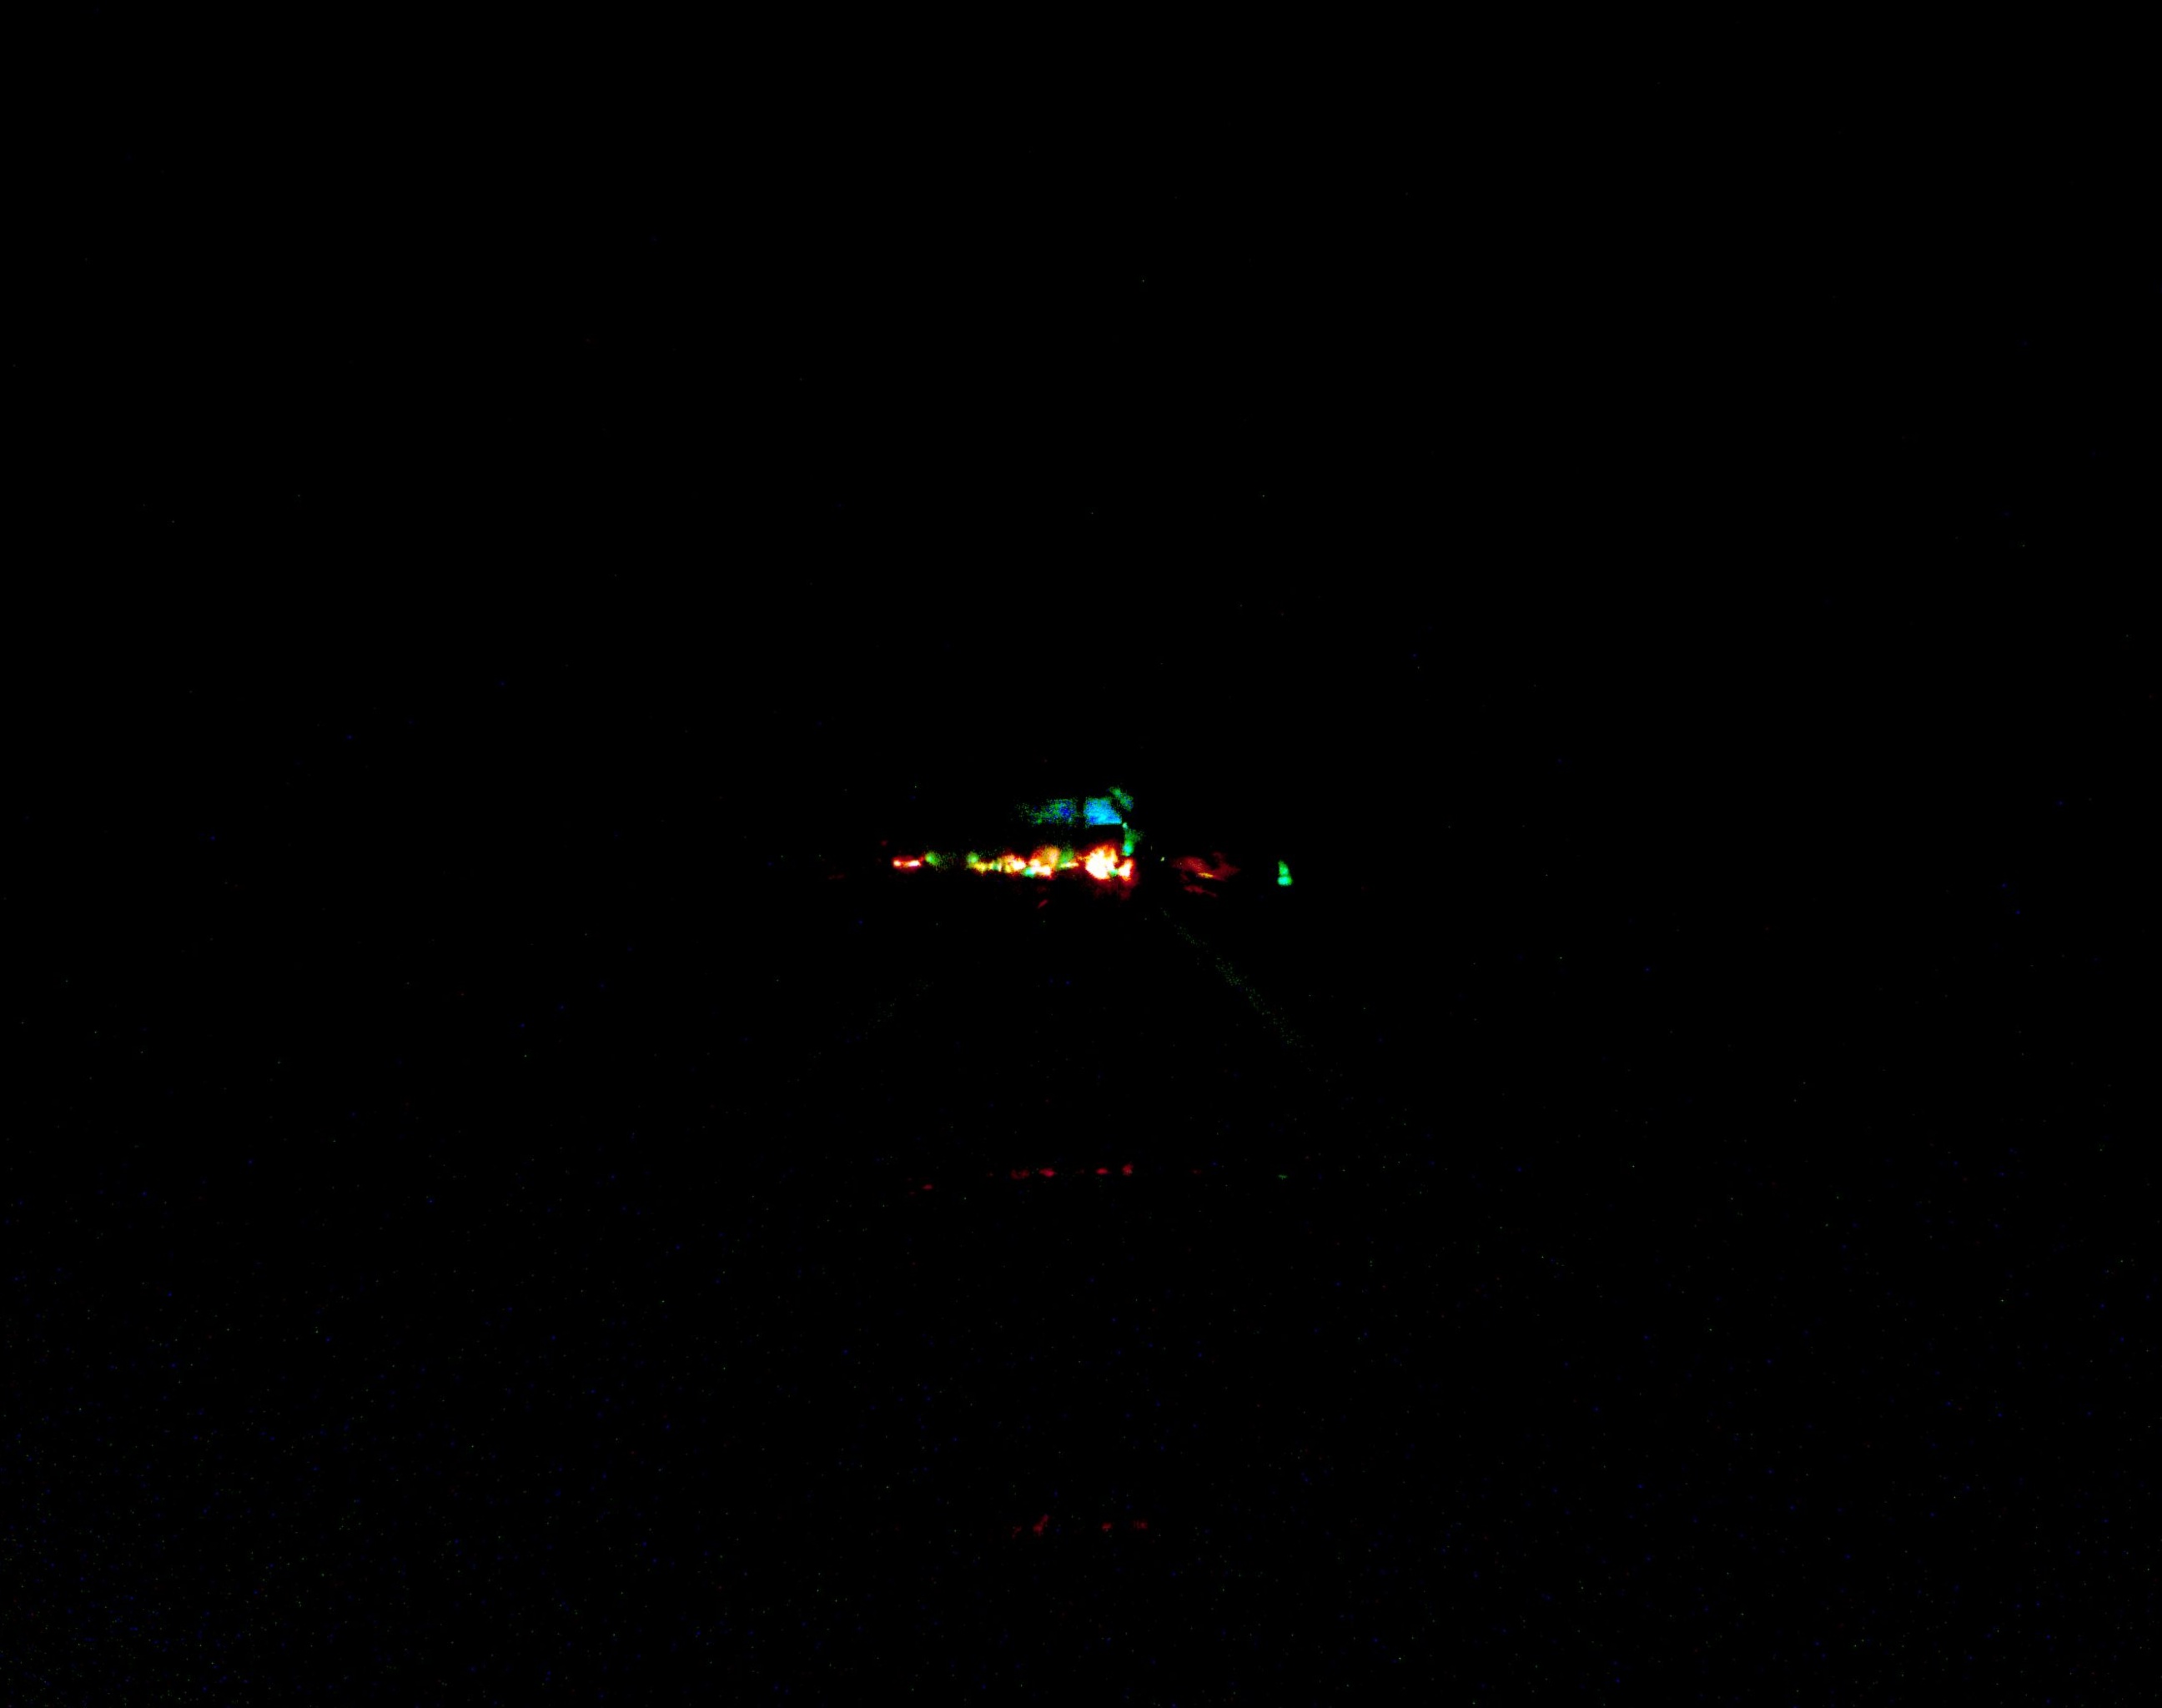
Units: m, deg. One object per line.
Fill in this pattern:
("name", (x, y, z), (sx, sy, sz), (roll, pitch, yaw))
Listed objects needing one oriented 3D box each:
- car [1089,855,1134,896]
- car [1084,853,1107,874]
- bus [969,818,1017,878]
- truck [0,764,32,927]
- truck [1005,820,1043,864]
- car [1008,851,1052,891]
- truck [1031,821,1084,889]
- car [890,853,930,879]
("car", (1.411, 0.978, 37.995), (1.986, 1.807, 4.001), (0, 0, 1))
("car", (1.403, 0.971, 81.778), (2.120, 2.014, 4.643), (0, 0, -1))
("bus", (-7.066, -0.424, 66.828), (3.089, 4.508, 10.904), (0, 0, -2))
("truck", (-27.776, -0.260, 11.383), (3.486, 3.888, 17.189), (0, 0, 2))
("truck", (-7.645, -1.513, 111.364), (4.196, 5.648, 11.468), (0, 0, 1))
("car", (-2.652, 0.890, 43.477), (2.120, 2.014, 4.643), (0, 0, -1))
("truck", (-1.953, 0.138, 73.514), (4.196, 5.648, 11.468), (0, 0, 1))
("car", (-10.805, 0.726, 51.769), (1.990, 1.596, 3.993), (0, 0, -5))
